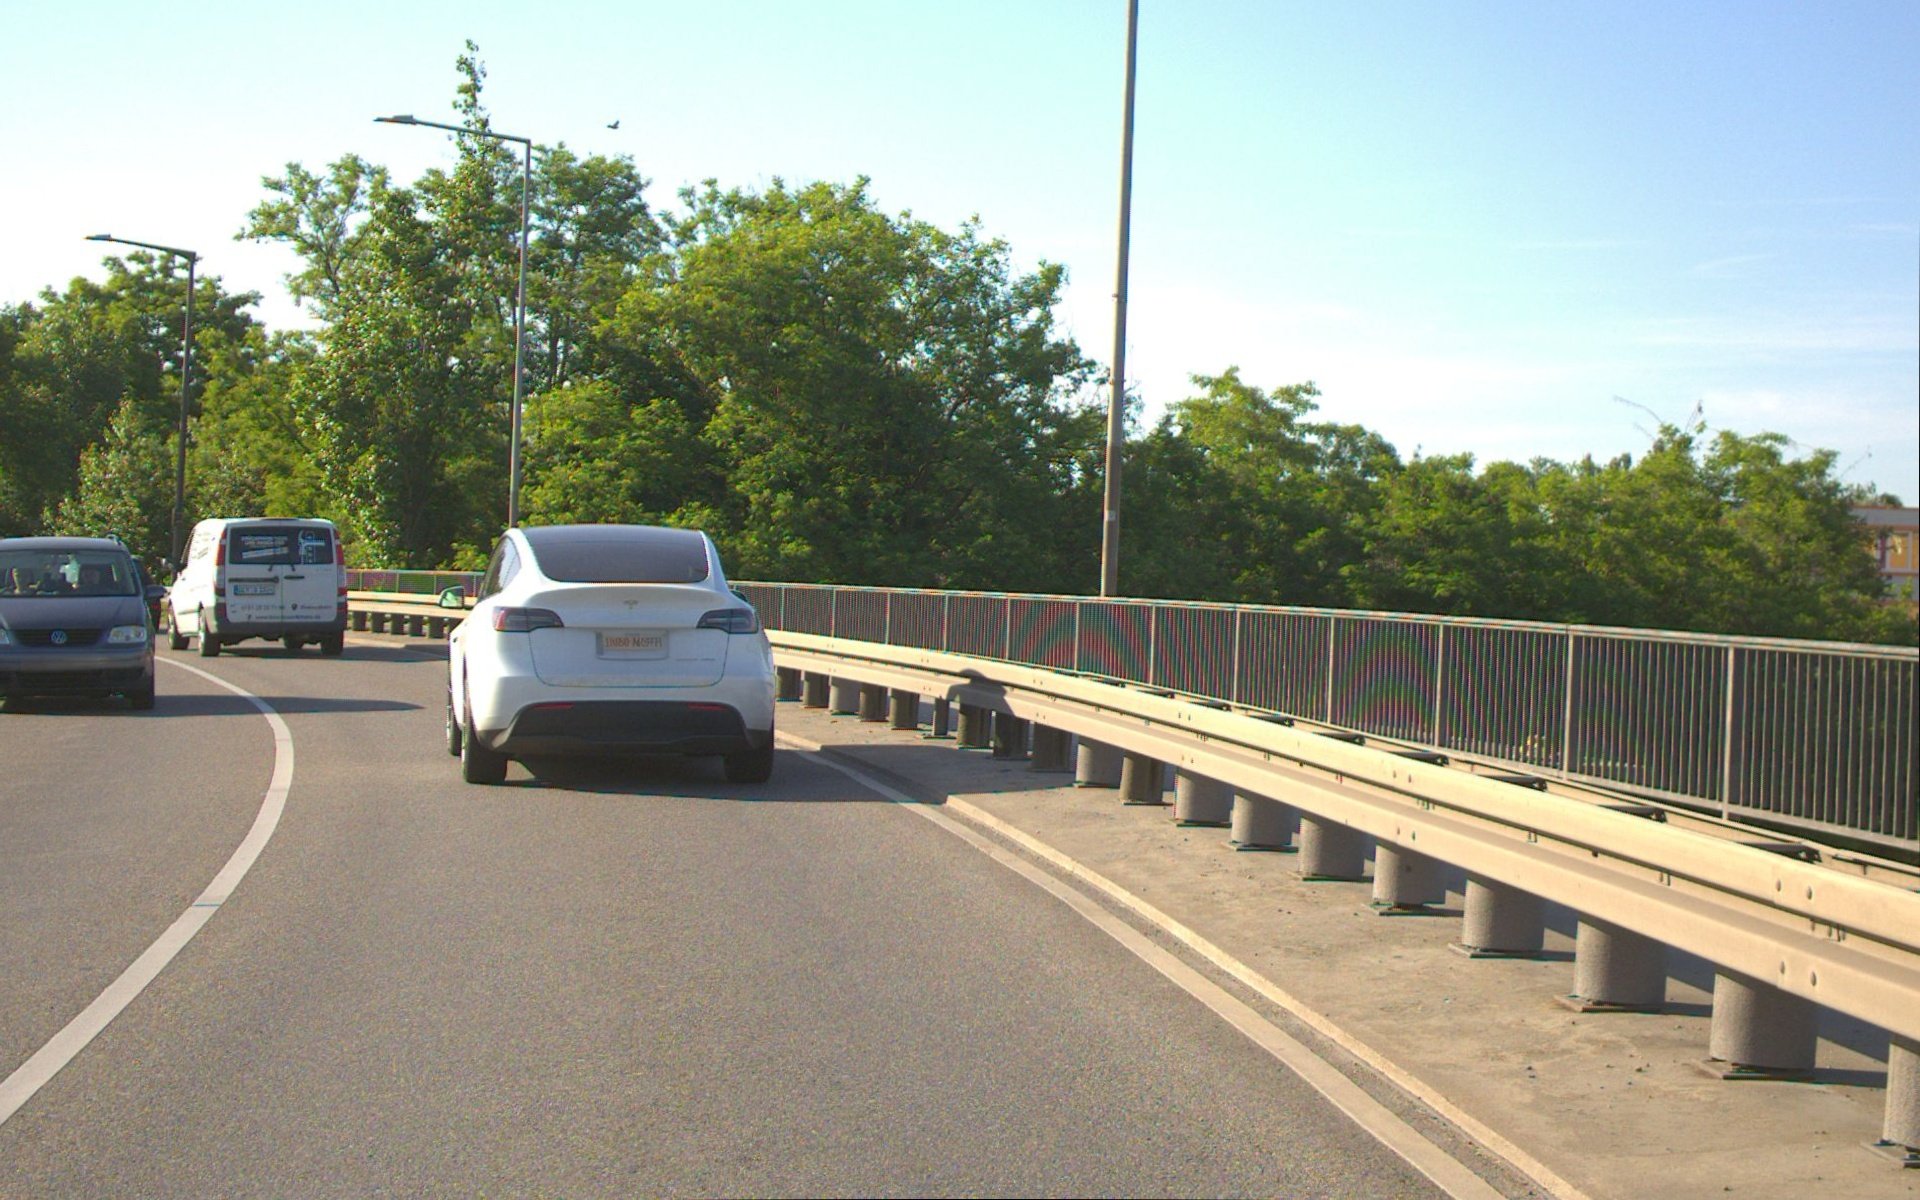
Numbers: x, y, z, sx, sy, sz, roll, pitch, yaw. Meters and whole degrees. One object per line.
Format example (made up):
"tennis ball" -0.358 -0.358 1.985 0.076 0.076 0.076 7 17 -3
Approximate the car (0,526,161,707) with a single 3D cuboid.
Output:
"car" -8.682 0.107 32.759 1.848 1.618 4.104 0 1 -16

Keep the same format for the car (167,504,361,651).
"car" -9.704 -0.340 47.691 2.004 1.934 4.469 0 1 -20

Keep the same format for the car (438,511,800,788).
"car" -2.321 0.260 22.435 1.985 1.632 4.064 0 1 -11

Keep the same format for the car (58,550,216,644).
"car" -15.147 -0.062 63.160 1.968 1.632 4.001 -1 1 -26
